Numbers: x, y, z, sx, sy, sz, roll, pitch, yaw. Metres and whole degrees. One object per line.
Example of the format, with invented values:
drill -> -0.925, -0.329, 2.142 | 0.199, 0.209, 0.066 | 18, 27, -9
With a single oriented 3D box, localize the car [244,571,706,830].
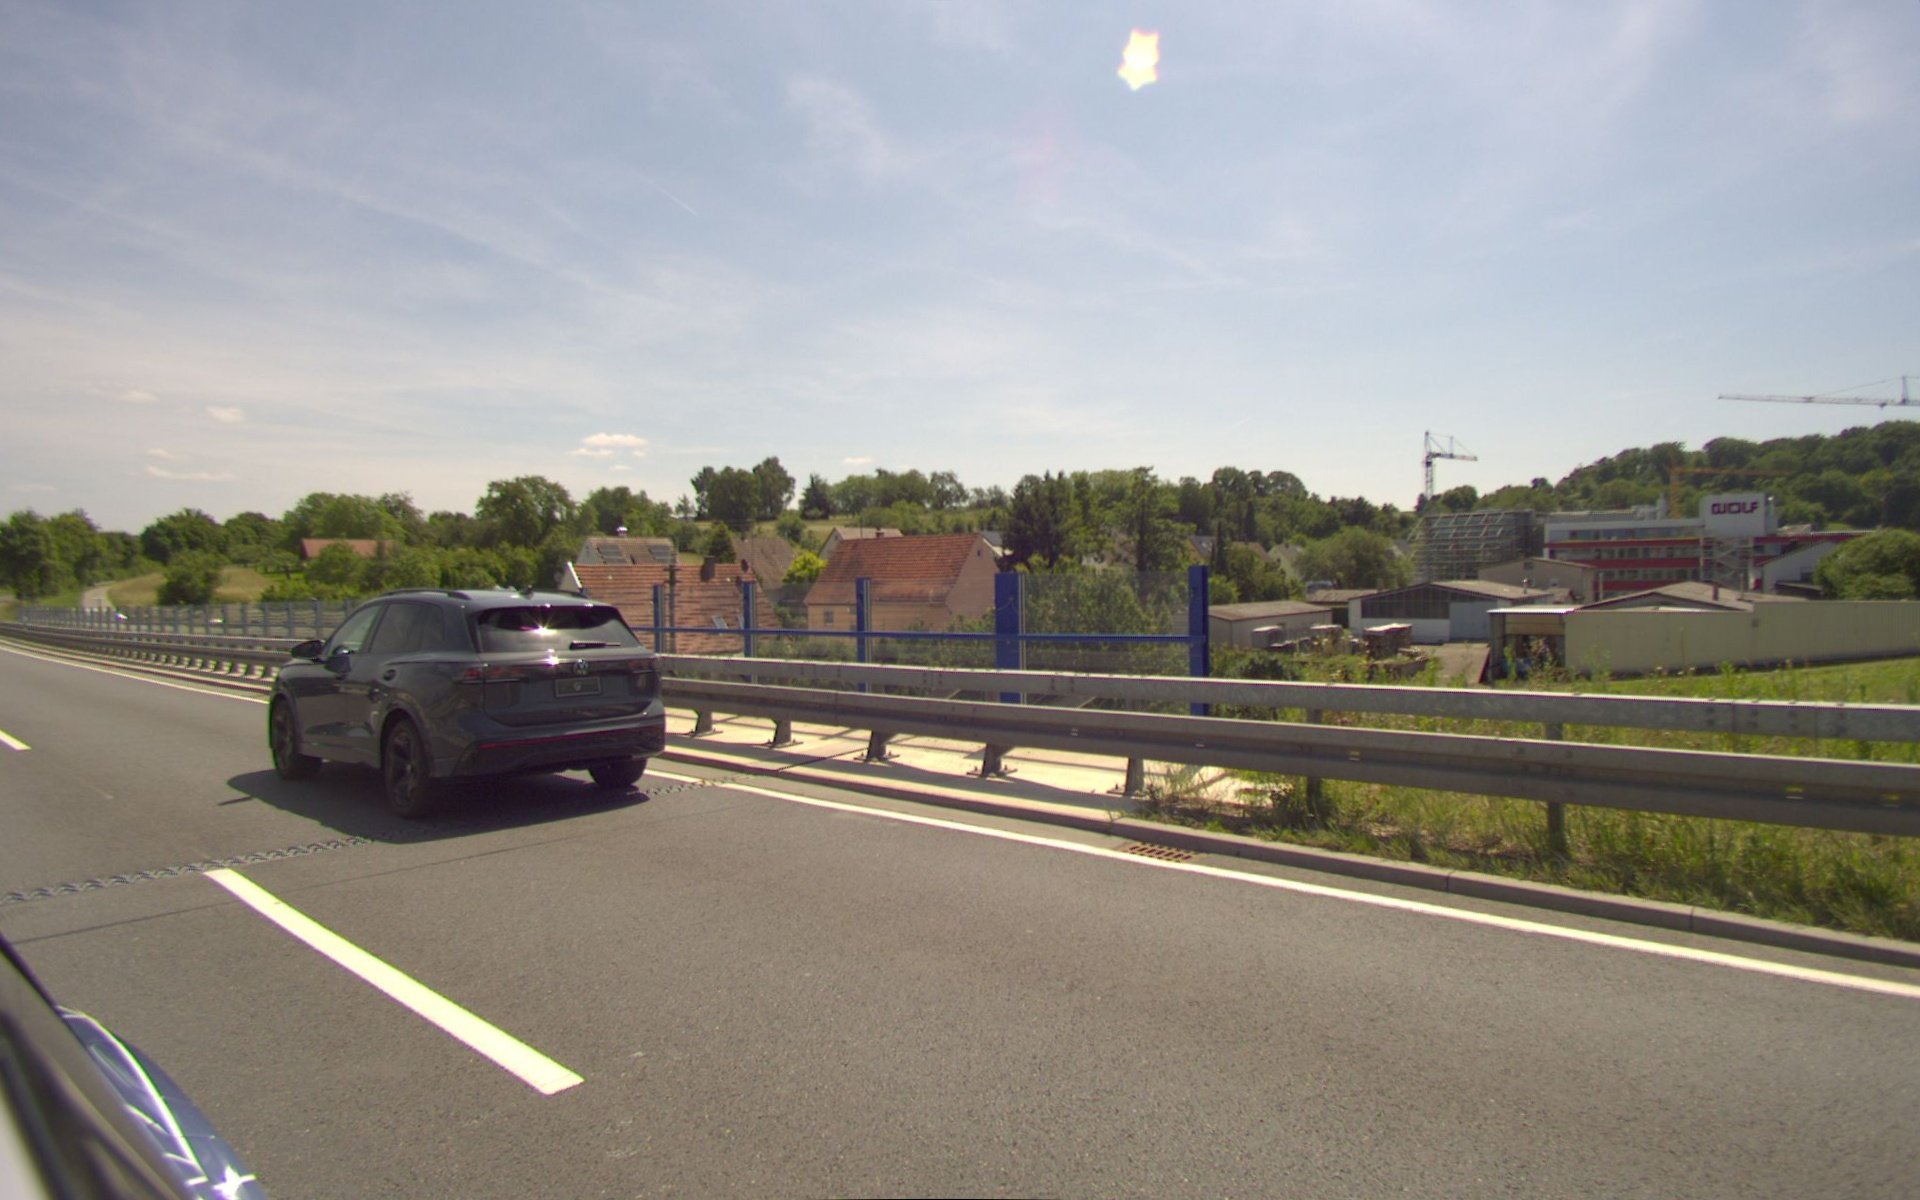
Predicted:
car -> -4.212, 0.642, 8.462 | 4.369, 1.623, 1.846 | -1, 0, 40
